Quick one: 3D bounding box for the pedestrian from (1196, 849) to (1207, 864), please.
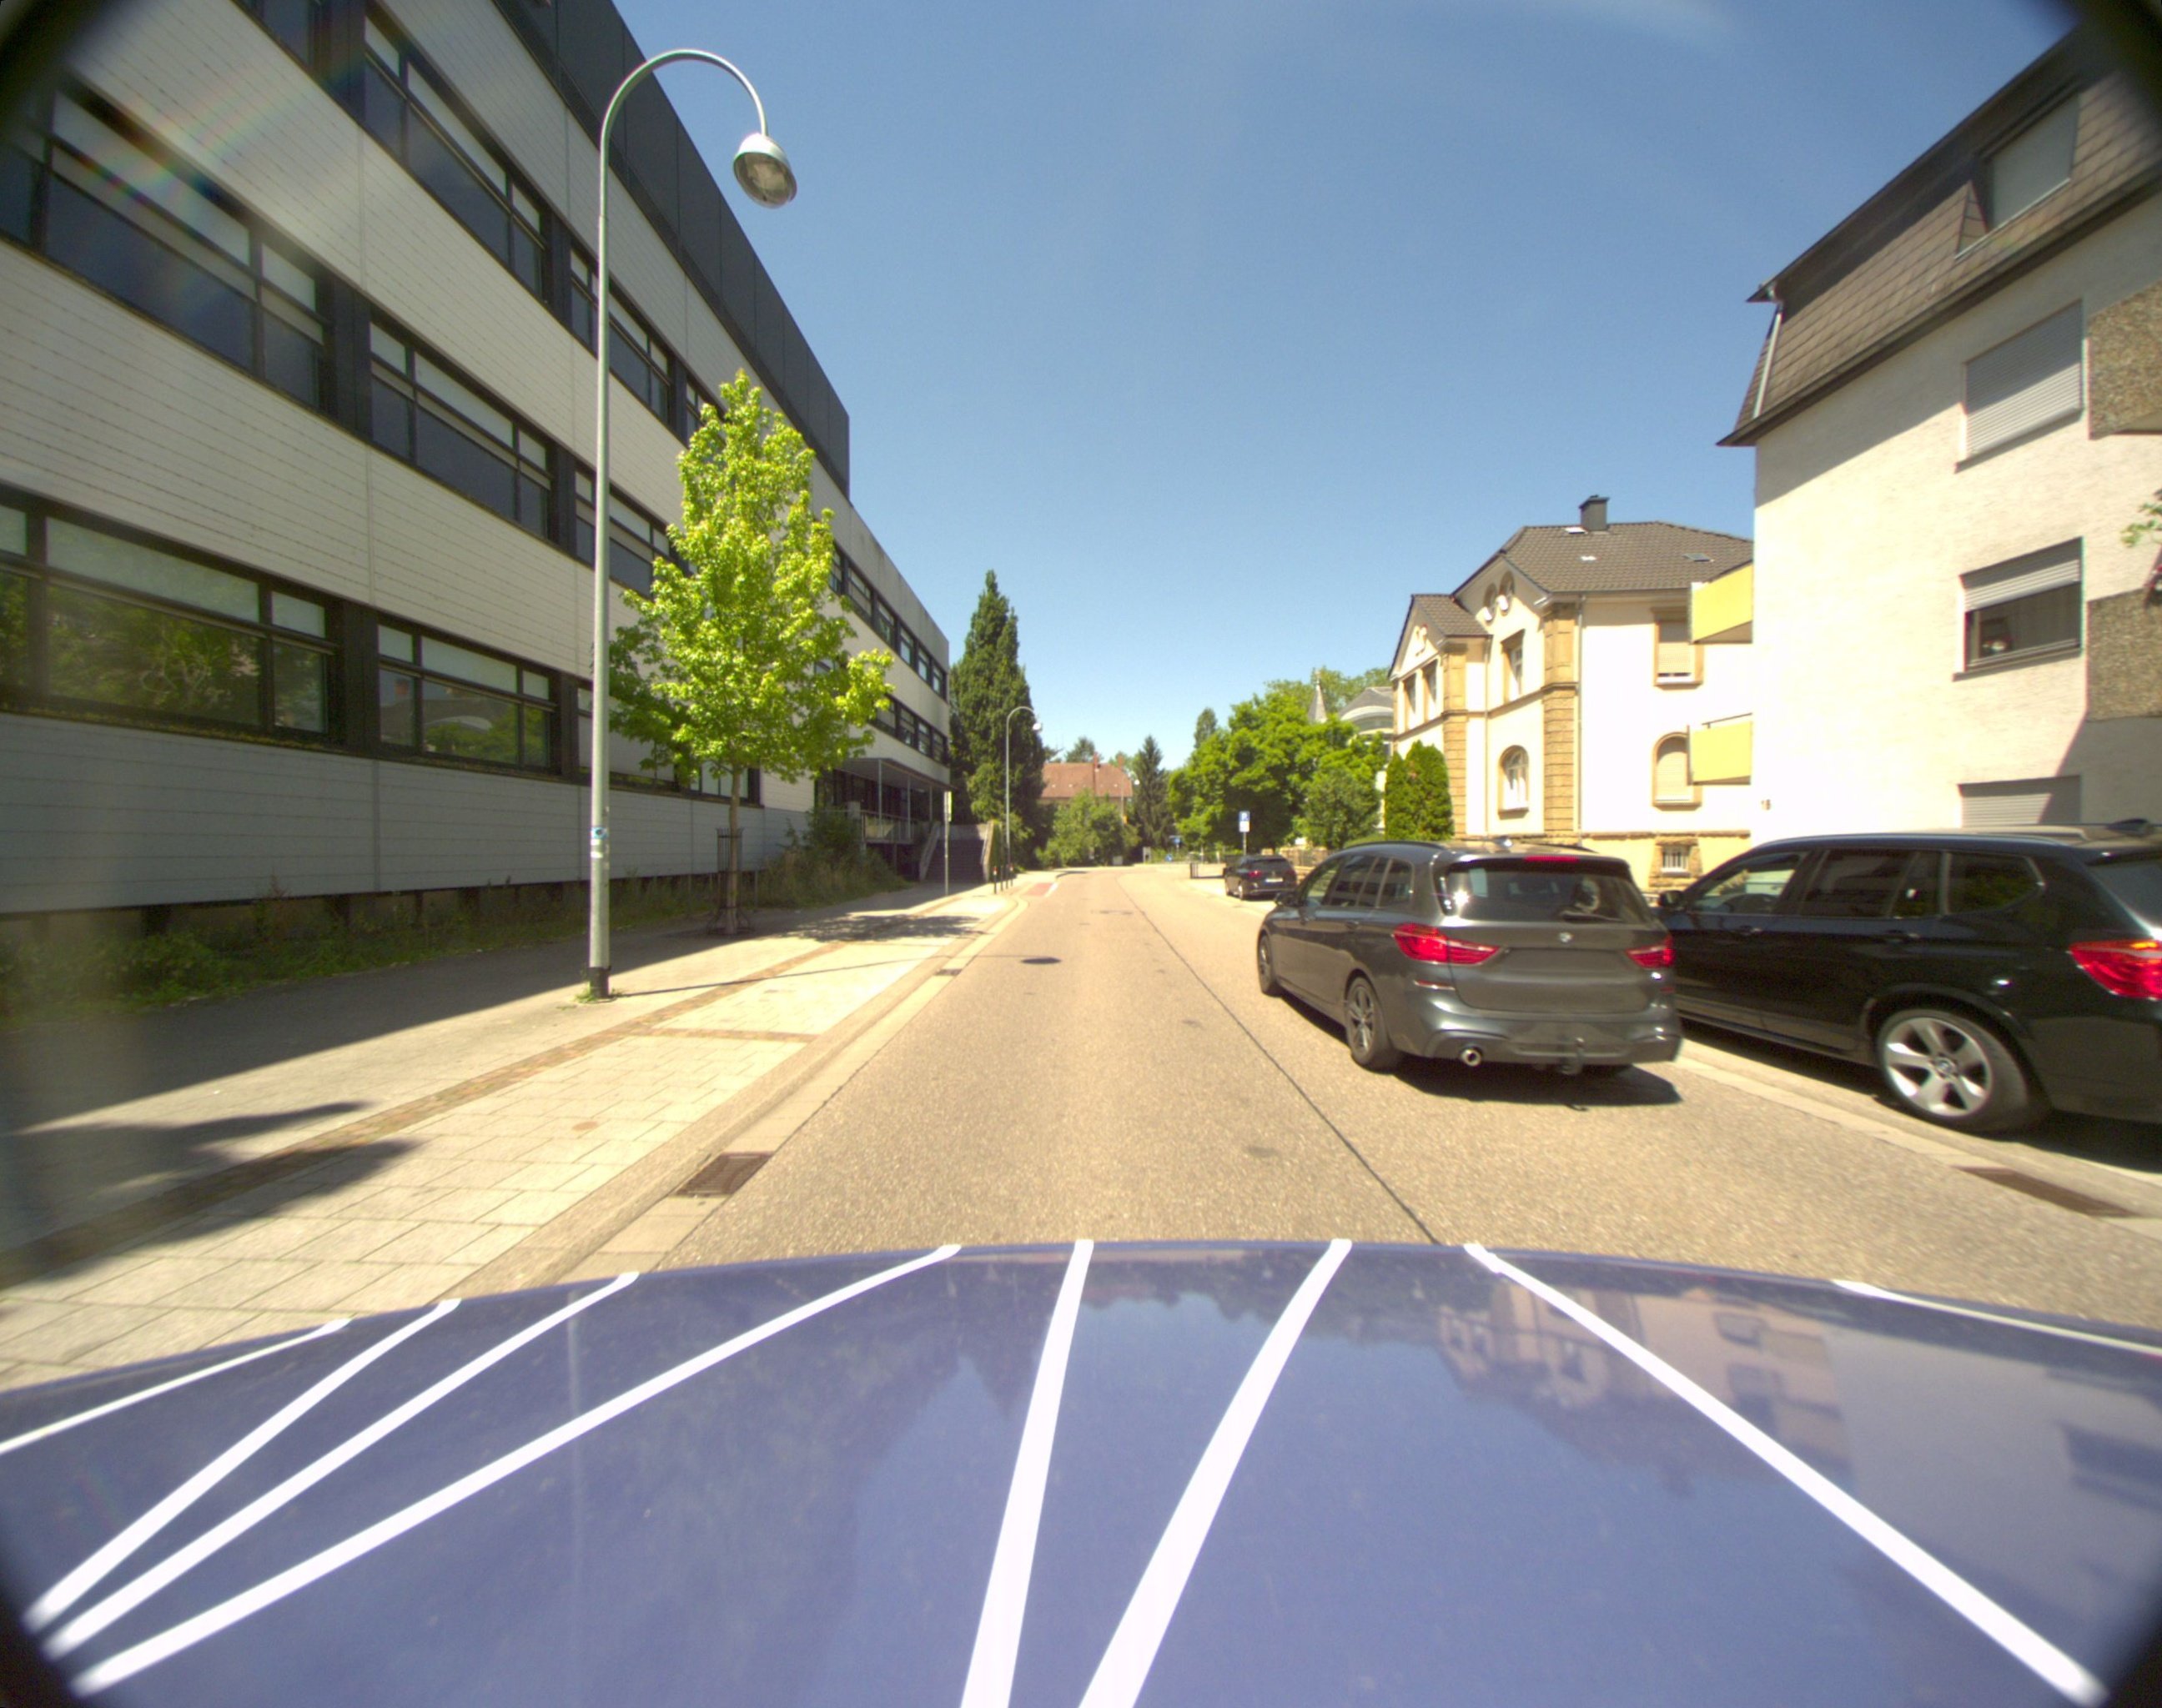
[{"bbox_3d":[14.657,0.331,92.582,0.917,1.762,0.912,-1,3,-40],"label":"pedestrian"}]

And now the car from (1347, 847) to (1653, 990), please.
[{"bbox_3d":[5.653,0.728,11.092,1.930,1.564,4.659,-3,0,1],"label":"car"}]

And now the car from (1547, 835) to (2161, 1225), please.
[{"bbox_3d":[5.530,0.734,5.338,1.729,1.610,4.571,-3,0,1],"label":"car"}]

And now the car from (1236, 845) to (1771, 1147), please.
[{"bbox_3d":[2.785,0.769,6.423,1.979,1.661,4.470,0,1,-1],"label":"car"}]

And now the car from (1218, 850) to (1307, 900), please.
[{"bbox_3d":[6.001,0.638,25.649,1.930,1.428,4.659,-3,0,1],"label":"car"}]
